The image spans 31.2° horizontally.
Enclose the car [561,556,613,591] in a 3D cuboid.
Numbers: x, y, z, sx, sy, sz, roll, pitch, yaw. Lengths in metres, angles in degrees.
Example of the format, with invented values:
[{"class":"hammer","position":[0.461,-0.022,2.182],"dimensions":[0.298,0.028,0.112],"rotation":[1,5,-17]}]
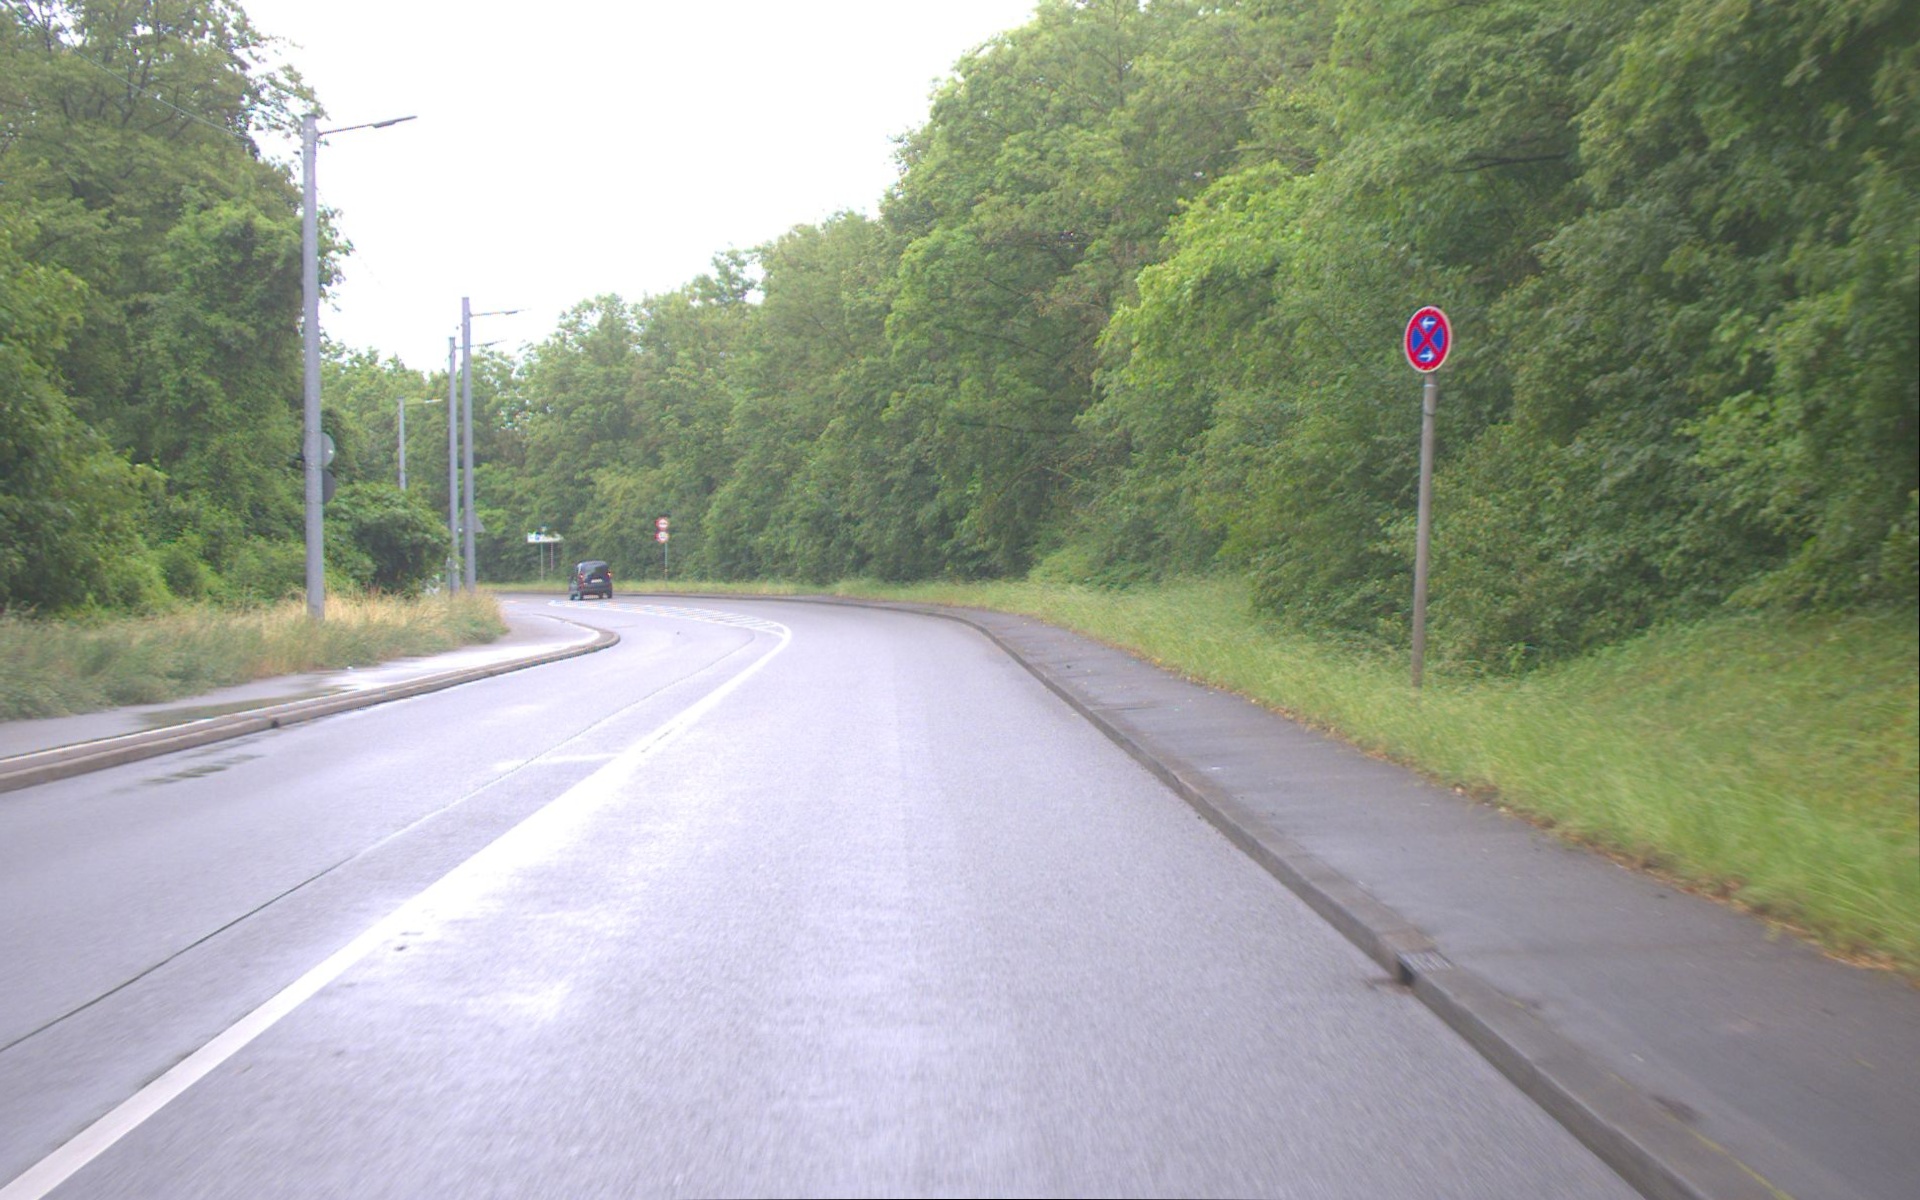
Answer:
[{"class":"car","position":[-18.304,-1.298,168.675],"dimensions":[1.867,1.590,4.001],"rotation":[3,0,-15]}]
